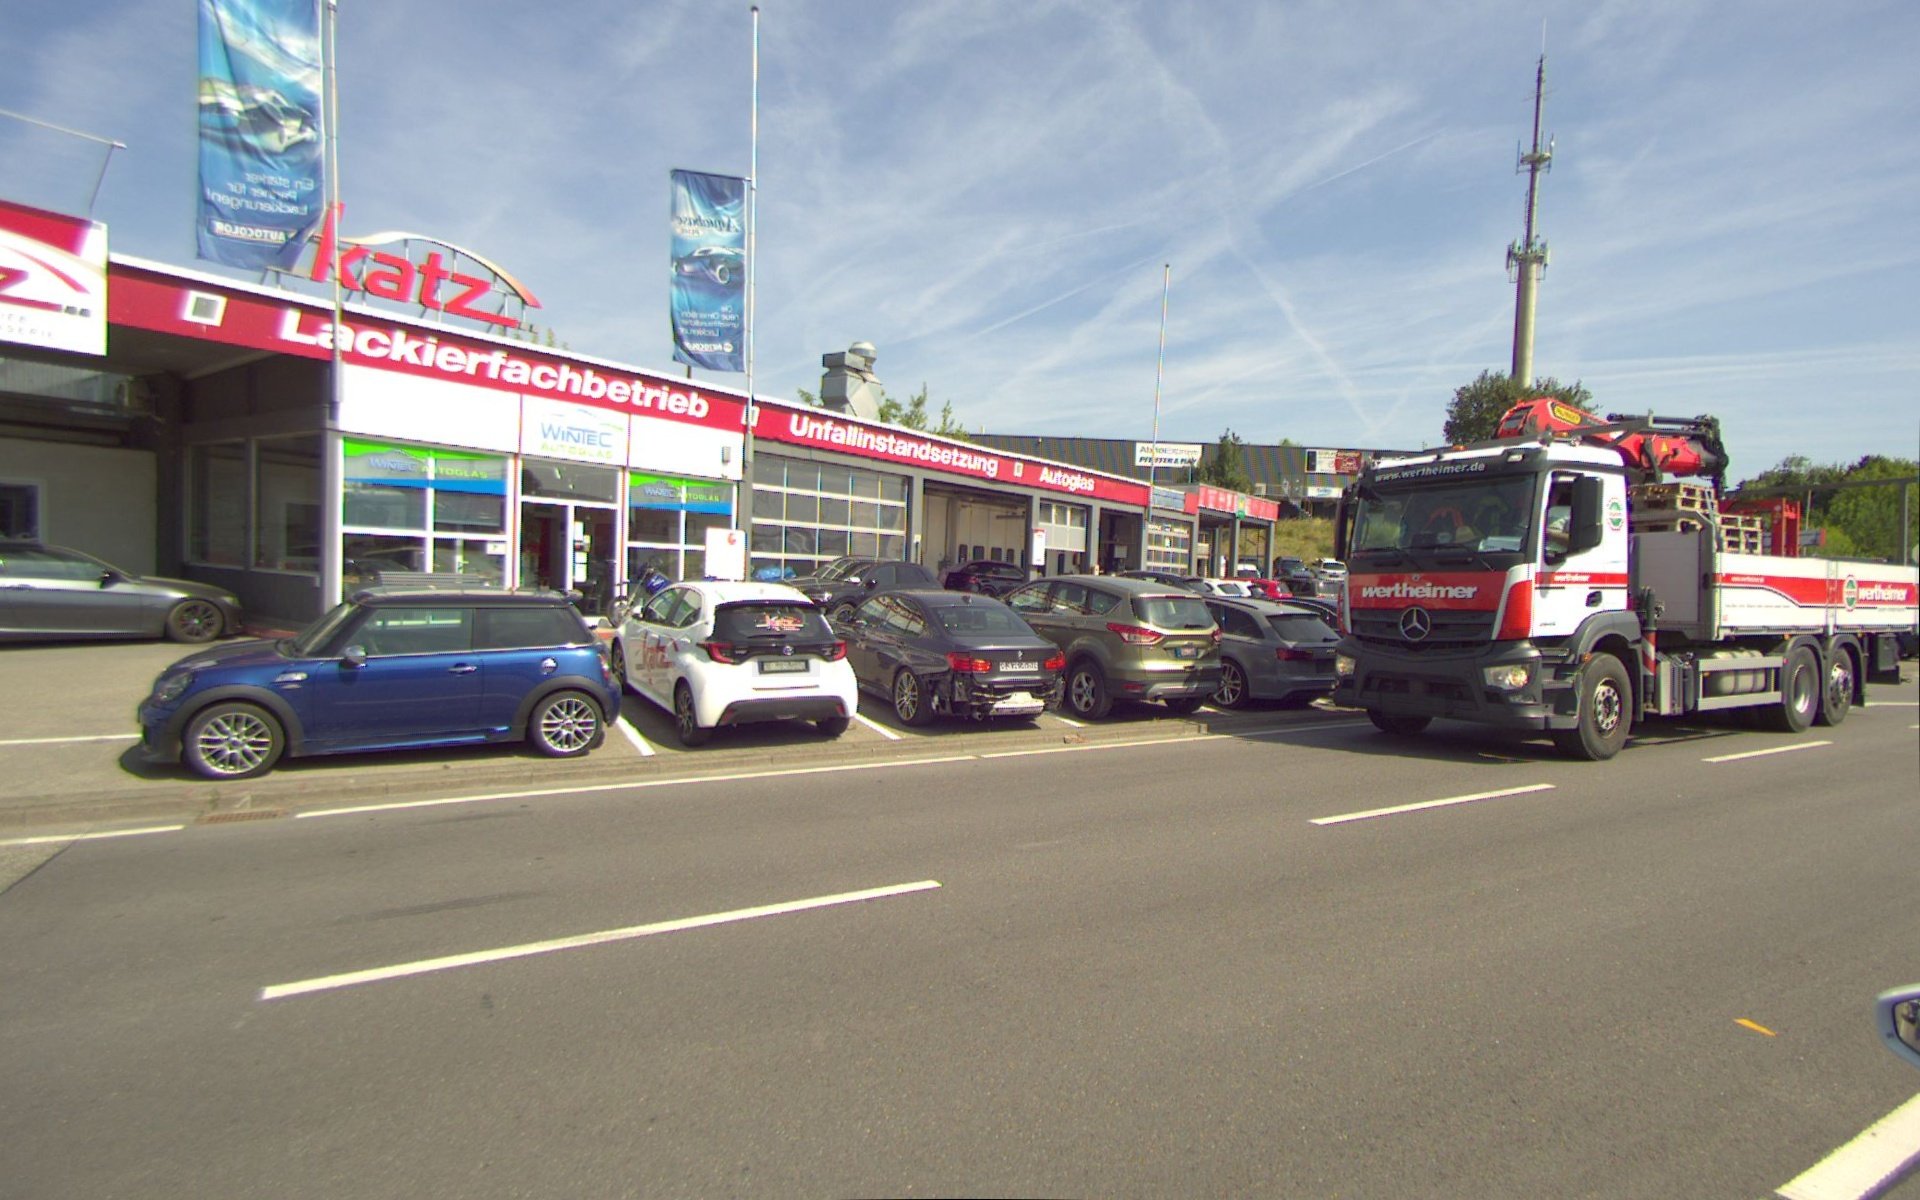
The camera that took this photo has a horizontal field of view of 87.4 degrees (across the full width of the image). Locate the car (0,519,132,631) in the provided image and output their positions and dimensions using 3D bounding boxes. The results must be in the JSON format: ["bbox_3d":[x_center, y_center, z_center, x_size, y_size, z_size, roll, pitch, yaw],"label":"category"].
[{"bbox_3d":[-14.870,-0.382,14.637,1.829,1.525,3.986,7,6,34],"label":"car"}]

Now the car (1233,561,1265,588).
[{"bbox_3d":[17.385,-1.493,60.385,1.702,1.470,3.749,3,1,17],"label":"car"}]

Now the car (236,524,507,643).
[{"bbox_3d":[-10.249,-0.296,17.729,1.675,1.783,3.750,6,4,33],"label":"car"}]

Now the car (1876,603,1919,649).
[{"bbox_3d":[37.675,1.044,37.871,2.089,1.716,4.528,1,1,1],"label":"car"}]

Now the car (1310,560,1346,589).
[{"bbox_3d":[21.744,-1.492,59.494,1.702,1.558,3.749,3,1,17],"label":"car"}]

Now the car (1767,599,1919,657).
[{"bbox_3d":[27.077,0.819,30.356,1.822,1.560,3.795,1,1,-32],"label":"car"}]

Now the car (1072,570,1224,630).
[{"bbox_3d":[5.373,-0.032,28.834,3.885,1.553,1.763,2,1,36],"label":"car"}]

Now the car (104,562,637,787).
[{"bbox_3d":[-5.013,0.555,8.989,3.737,1.514,1.770,1,5,-30],"label":"car"}]

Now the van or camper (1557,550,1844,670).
[{"bbox_3d":[20.050,0.140,27.580,2.264,2.912,5.860,0,2,-31],"label":"van or camper"}]

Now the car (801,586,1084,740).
[{"bbox_3d":[-0.363,0.637,12.294,1.773,1.546,3.685,1,1,-33],"label":"car"}]

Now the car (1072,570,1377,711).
[{"bbox_3d":[3.765,0.475,15.072,1.817,1.505,4.250,1,5,-33],"label":"car"}]

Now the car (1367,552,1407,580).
[{"bbox_3d":[24.766,-1.953,58.350,1.702,1.470,3.749,3,1,17],"label":"car"}]

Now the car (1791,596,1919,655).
[{"bbox_3d":[29.009,0.777,31.767,1.822,1.698,3.795,1,1,-32],"label":"car"}]

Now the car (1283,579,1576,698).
[{"bbox_3d":[8.196,0.581,17.978,1.753,1.505,4.431,1,5,-33],"label":"car"}]

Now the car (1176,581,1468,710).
[{"bbox_3d":[5.820,0.628,16.679,1.779,1.505,4.272,1,5,-33],"label":"car"}]

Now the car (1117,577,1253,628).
[{"bbox_3d":[7.042,0.046,31.569,3.766,1.451,1.763,2,1,36],"label":"car"}]

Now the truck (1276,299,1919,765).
[{"bbox_3d":[8.944,-0.547,13.208,10.525,4.265,2.941,1,0,-31],"label":"truck"}]

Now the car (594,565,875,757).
[{"bbox_3d":[-2.674,0.515,11.201,1.827,1.546,3.772,1,4,-33],"label":"car"}]

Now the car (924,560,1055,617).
[{"bbox_3d":[0.975,-0.357,31.846,3.988,1.694,1.887,1,1,-44],"label":"car"}]

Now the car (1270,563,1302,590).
[{"bbox_3d":[19.410,-1.386,59.866,1.702,1.470,3.749,3,1,17],"label":"car"}]

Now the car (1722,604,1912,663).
[{"bbox_3d":[24.606,0.911,28.975,1.822,1.468,3.795,1,1,-32],"label":"car"}]

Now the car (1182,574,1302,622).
[{"bbox_3d":[10.126,-0.091,36.193,3.766,1.609,1.763,2,1,36],"label":"car"}]

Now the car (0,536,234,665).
[{"bbox_3d":[-12.426,-0.034,13.153,1.829,1.525,4.379,6,5,36],"label":"car"}]

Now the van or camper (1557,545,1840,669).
[{"bbox_3d":[18.312,0.091,25.242,2.185,2.768,5.219,1,2,-30],"label":"van or camper"}]

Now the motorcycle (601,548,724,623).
[{"bbox_3d":[-5.313,-0.248,18.073,0.760,1.278,2.047,2,1,37],"label":"motorcycle"}]

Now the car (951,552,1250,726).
[{"bbox_3d":[1.703,0.377,13.419,1.787,1.740,3.862,1,5,-33],"label":"car"}]

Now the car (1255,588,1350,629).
[{"bbox_3d":[14.624,0.327,43.051,1.744,1.609,3.806,1,1,-24],"label":"car"}]

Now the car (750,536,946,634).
[{"bbox_3d":[-2.261,-0.270,21.288,1.797,1.696,4.116,9,4,33],"label":"car"}]

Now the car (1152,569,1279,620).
[{"bbox_3d":[8.638,-0.208,34.067,3.766,1.609,1.763,2,1,36],"label":"car"}]
